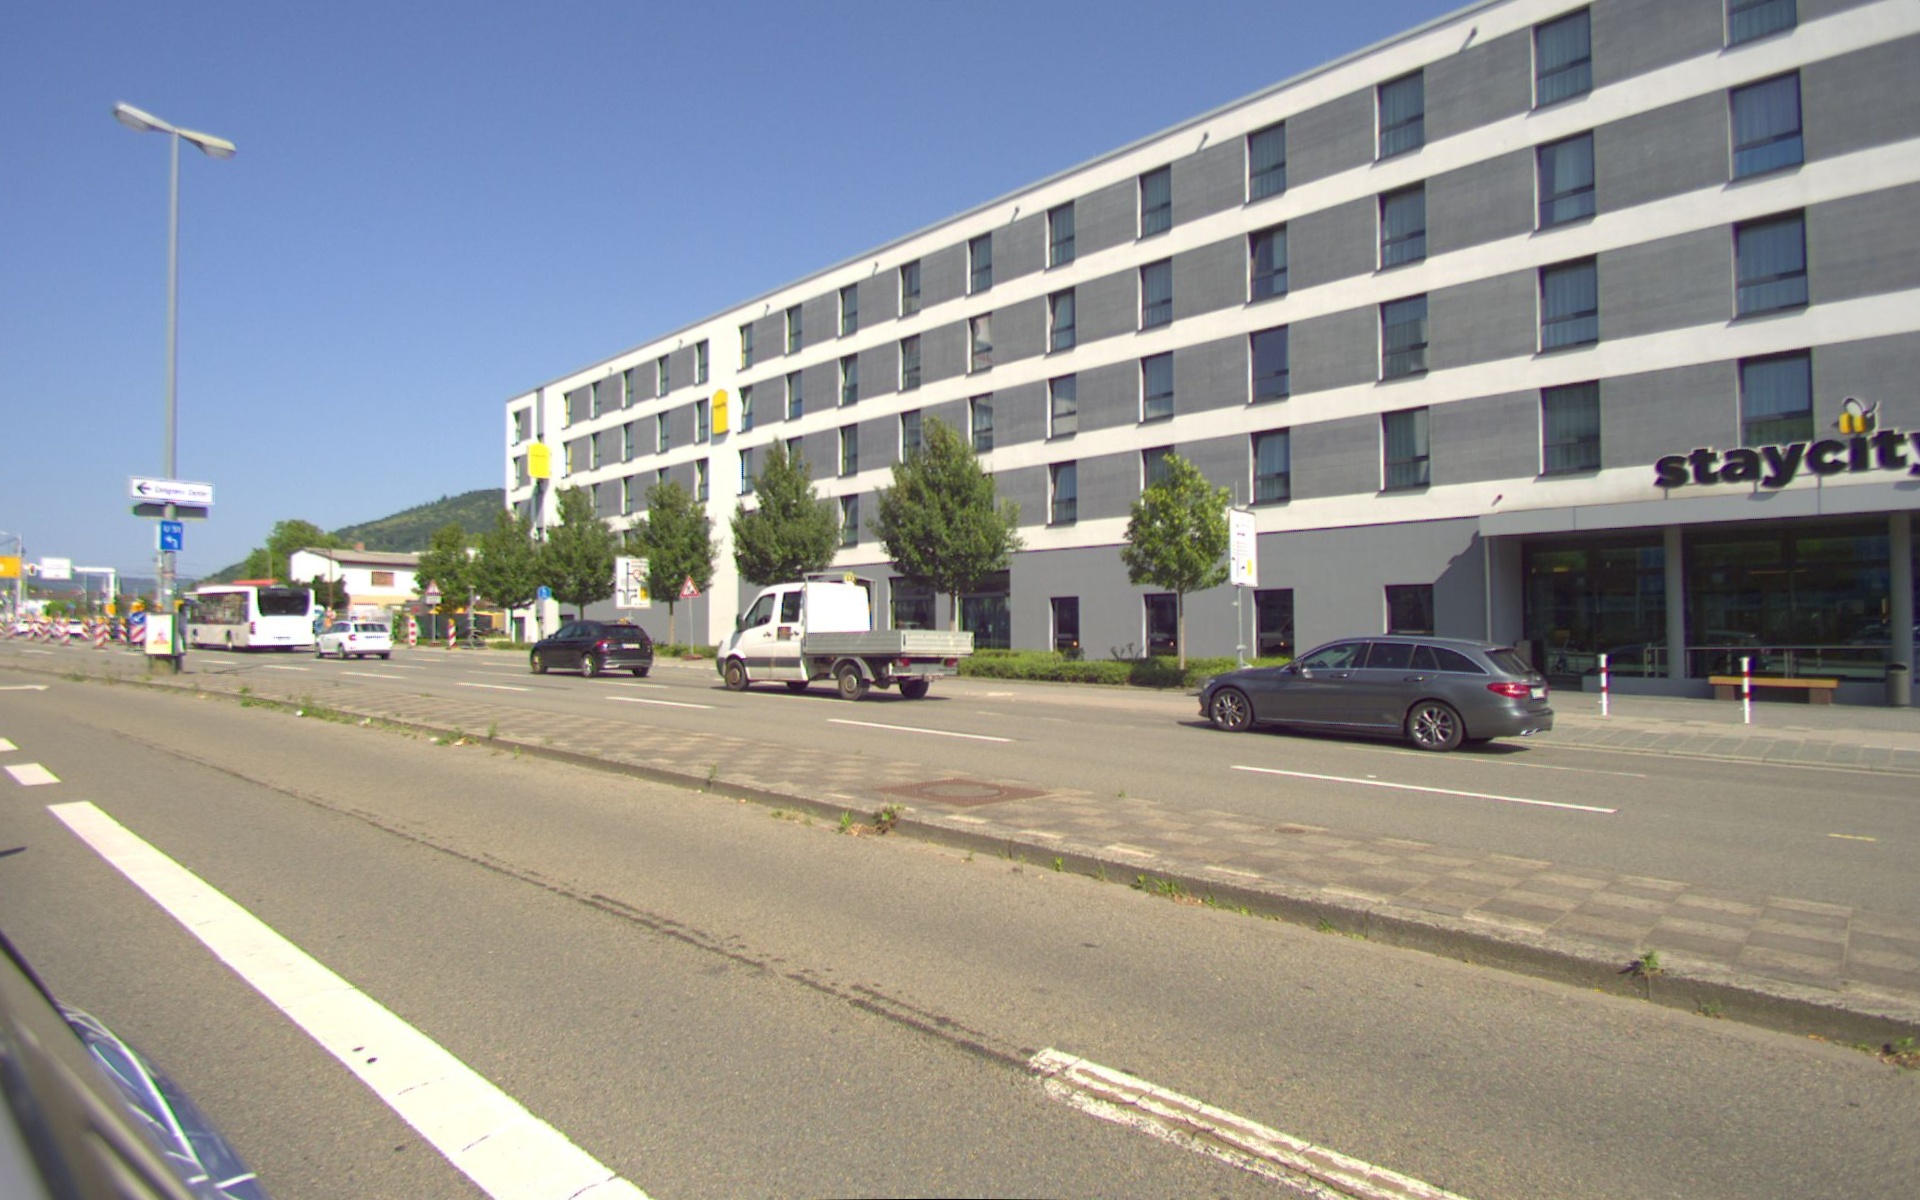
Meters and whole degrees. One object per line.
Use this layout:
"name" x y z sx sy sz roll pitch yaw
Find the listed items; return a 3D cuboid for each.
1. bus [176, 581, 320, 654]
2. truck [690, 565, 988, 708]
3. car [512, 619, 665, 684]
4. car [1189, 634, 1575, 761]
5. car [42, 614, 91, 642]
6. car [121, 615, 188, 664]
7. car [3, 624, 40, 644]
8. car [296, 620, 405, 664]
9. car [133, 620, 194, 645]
"bus" -34.235 0.854 48.360 11.969 3.102 2.709 -1 -3 41
"truck" -2.690 0.712 21.134 6.432 2.564 2.333 1 -4 40
"car" -10.285 1.355 27.895 4.407 1.590 1.974 0 -1 39
"car" 5.702 1.215 14.072 4.586 1.438 1.934 -1 -3 43
"car" -68.092 2.150 77.092 3.993 2.029 1.975 -3 -5 37
"car" -35.775 1.697 44.903 4.163 2.029 1.657 0 1 42
"car" -80.453 2.888 86.773 3.585 1.631 1.698 -1 -1 36
"car" -23.343 1.594 38.728 4.404 1.497 1.975 0 -4 36
"car" -47.713 1.920 60.573 4.889 1.443 1.973 -1 -2 41
